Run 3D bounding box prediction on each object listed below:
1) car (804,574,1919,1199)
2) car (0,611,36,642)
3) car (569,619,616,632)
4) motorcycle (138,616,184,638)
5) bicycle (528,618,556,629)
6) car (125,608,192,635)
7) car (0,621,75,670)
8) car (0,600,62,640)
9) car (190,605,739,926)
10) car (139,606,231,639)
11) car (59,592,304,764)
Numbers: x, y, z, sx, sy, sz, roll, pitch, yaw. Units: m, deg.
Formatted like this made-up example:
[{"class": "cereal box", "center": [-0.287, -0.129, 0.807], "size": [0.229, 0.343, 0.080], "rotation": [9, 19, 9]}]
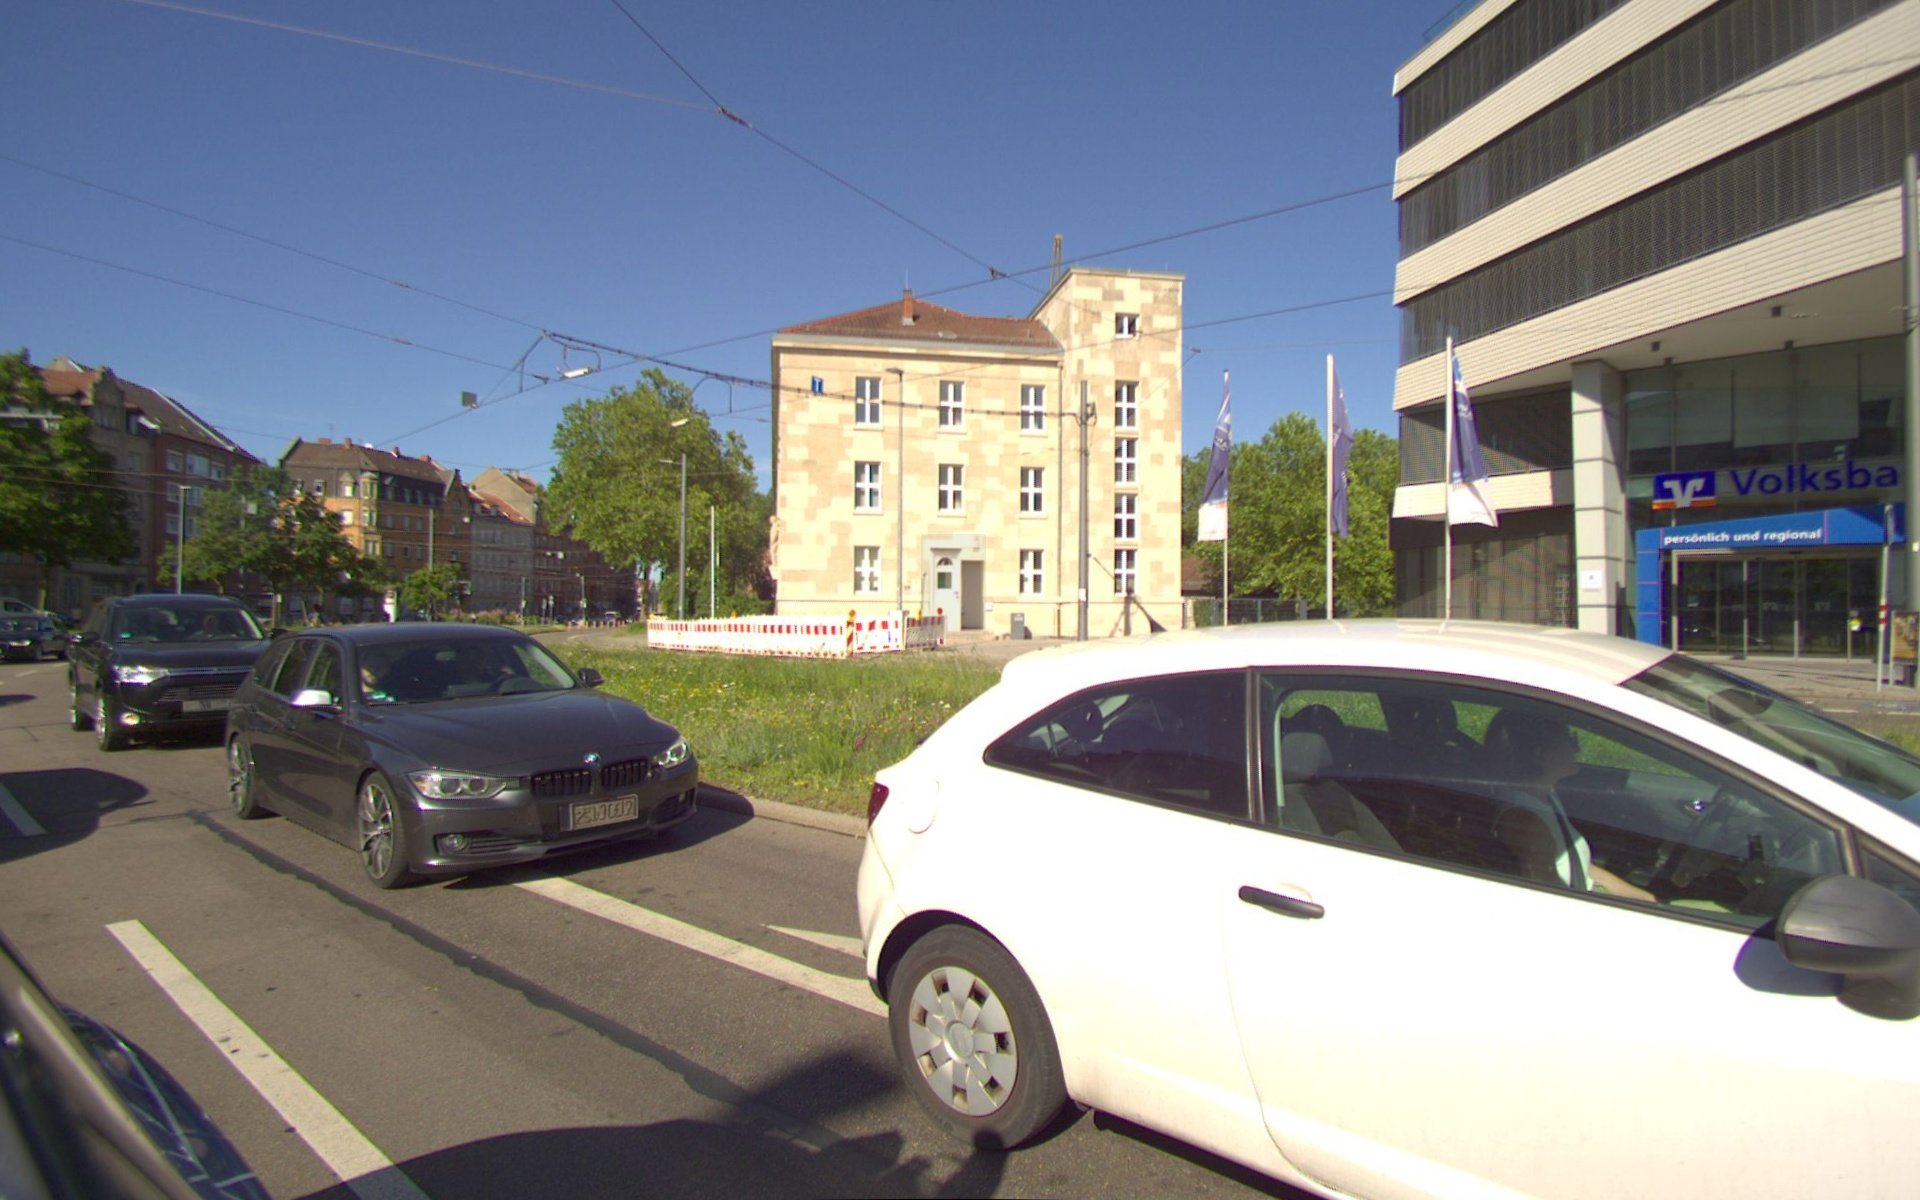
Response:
[{"class": "car", "center": [1.500, 0.686, 2.384], "size": [3.780, 1.434, 1.615], "rotation": [-1, 1, 41]}, {"class": "car", "center": [-48.694, 1.261, 50.288], "size": [3.970, 1.490, 1.814], "rotation": [4, -2, -44]}, {"class": "car", "center": [-43.427, 3.036, 119.681], "size": [4.884, 1.464, 1.838], "rotation": [1, -2, -6]}, {"class": "motorcycle", "center": [-53.170, 1.796, 67.371], "size": [0.851, 1.431, 2.238], "rotation": [0, -3, 30]}, {"class": "bicycle", "center": [-60.407, 3.413, 146.431], "size": [1.940, 1.427, 6.837], "rotation": [2, -2, -7]}, {"class": "car", "center": [-63.474, 1.664, 80.262], "size": [1.970, 1.483, 4.499], "rotation": [-11, 4, -8]}, {"class": "car", "center": [-29.662, 1.370, 31.622], "size": [1.858, 1.438, 4.391], "rotation": [1, -1, -25]}, {"class": "car", "center": [-50.306, 1.002, 52.731], "size": [5.105, 2.028, 2.104], "rotation": [3, -2, -40]}, {"class": "car", "center": [-3.567, 0.802, 6.834], "size": [4.465, 1.434, 1.716], "rotation": [-1, 1, 41]}, {"class": "car", "center": [-53.788, 1.583, 70.304], "size": [2.022, 2.091, 4.809], "rotation": [-1, -3, 45]}, {"class": "car", "center": [-9.548, 0.798, 12.251], "size": [1.815, 1.695, 4.646], "rotation": [0, -1, -45]}]
